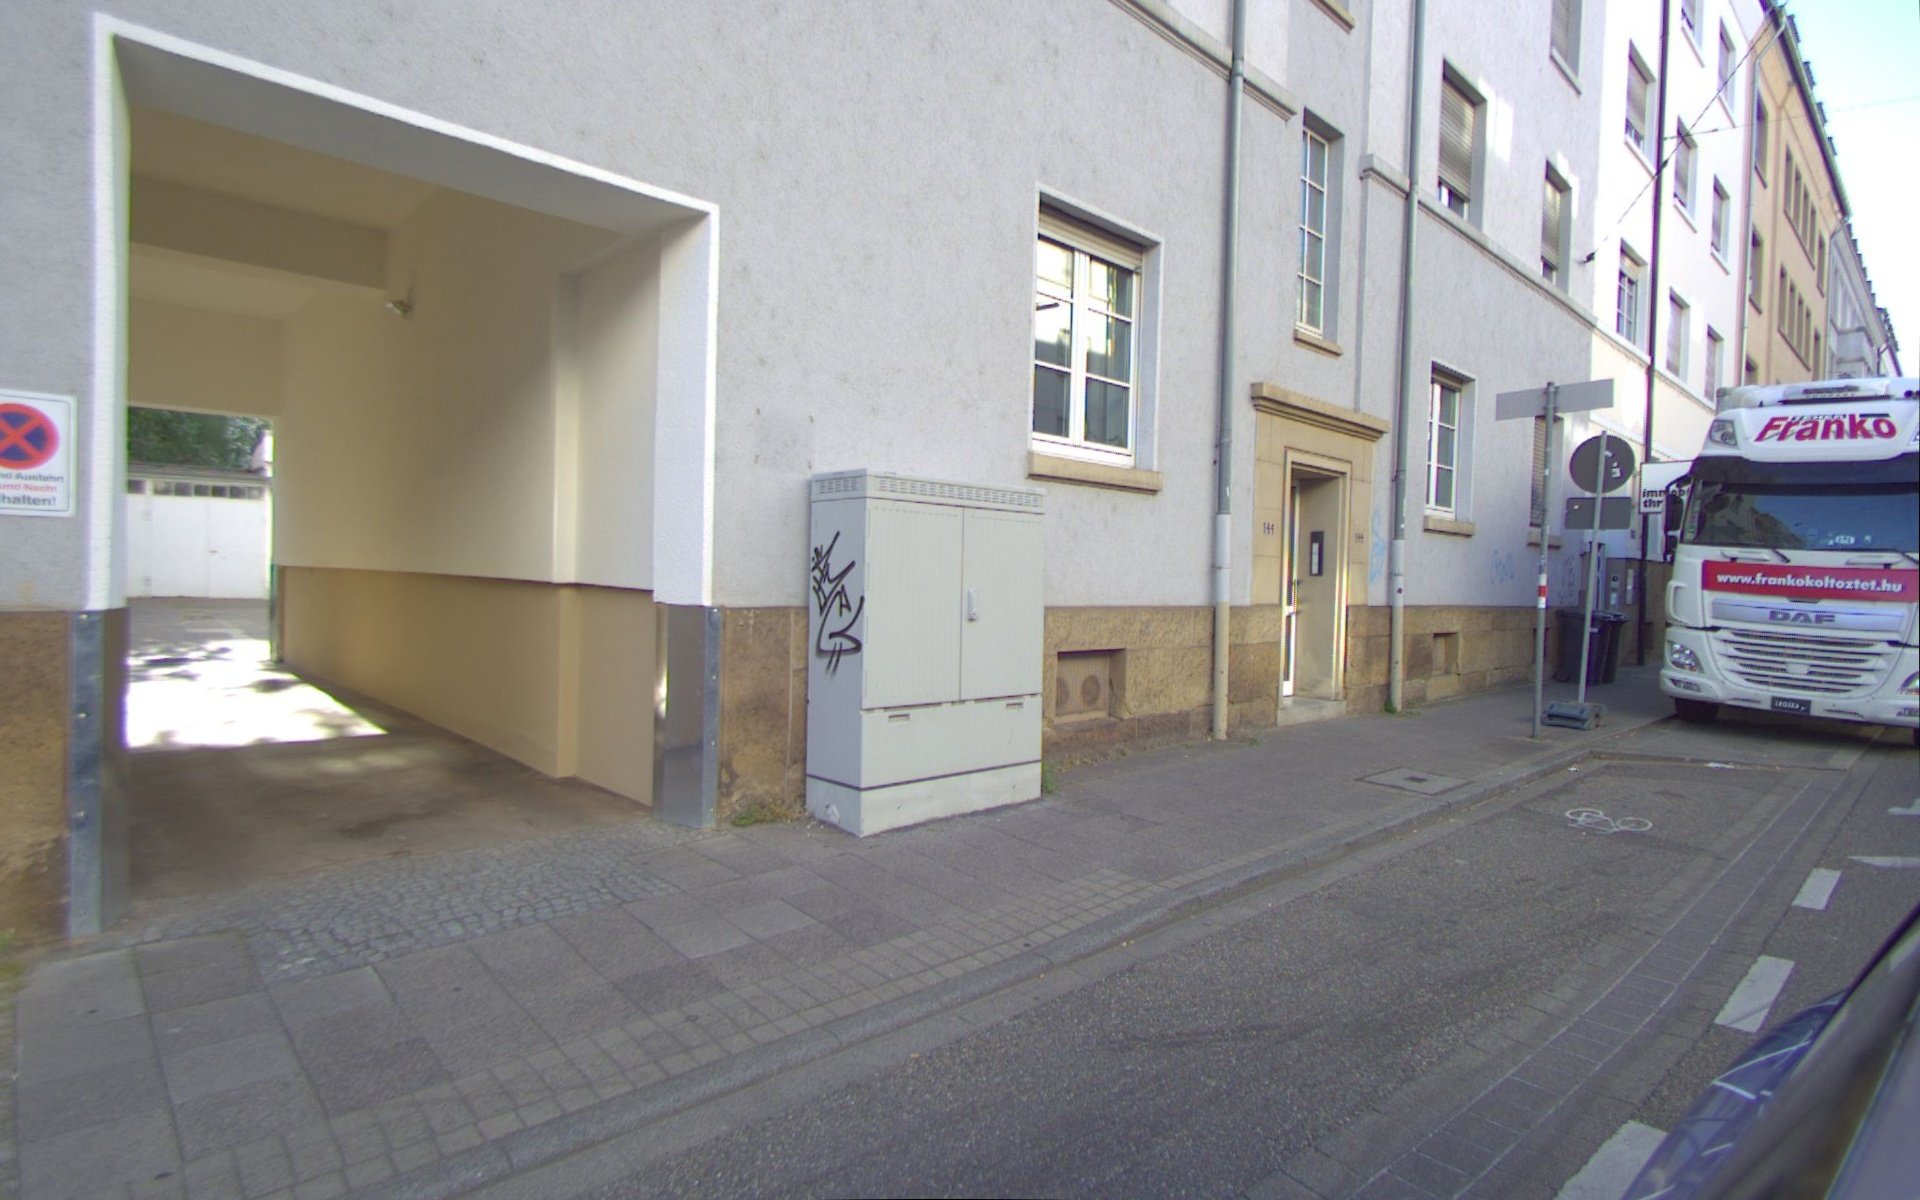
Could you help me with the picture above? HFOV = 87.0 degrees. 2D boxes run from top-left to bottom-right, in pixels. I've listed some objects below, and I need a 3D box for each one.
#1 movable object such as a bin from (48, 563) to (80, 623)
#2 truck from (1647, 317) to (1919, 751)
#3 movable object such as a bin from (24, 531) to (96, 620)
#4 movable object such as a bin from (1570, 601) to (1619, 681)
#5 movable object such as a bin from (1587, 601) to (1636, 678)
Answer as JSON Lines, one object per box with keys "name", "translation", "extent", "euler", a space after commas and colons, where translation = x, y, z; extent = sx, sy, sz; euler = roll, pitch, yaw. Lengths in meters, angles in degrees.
{"name": "movable object such as a bin", "translation": [-14.387, -0.116, 16.249], "extent": [0.366, 0.919, 0.420], "euler": [0, 3, -44]}
{"name": "truck", "translation": [12.561, -0.606, 13.840], "extent": [11.511, 4.012, 2.894], "euler": [0, 0, -44]}
{"name": "movable object such as a bin", "translation": [-14.885, -0.411, 16.737], "extent": [0.874, 1.409, 0.758], "euler": [0, 4, -44]}
{"name": "movable object such as a bin", "translation": [9.145, 0.576, 14.583], "extent": [0.511, 1.106, 0.488], "euler": [0, 0, 45]}
{"name": "movable object such as a bin", "translation": [9.644, 0.574, 14.979], "extent": [0.511, 1.106, 0.488], "euler": [0, 0, 45]}
